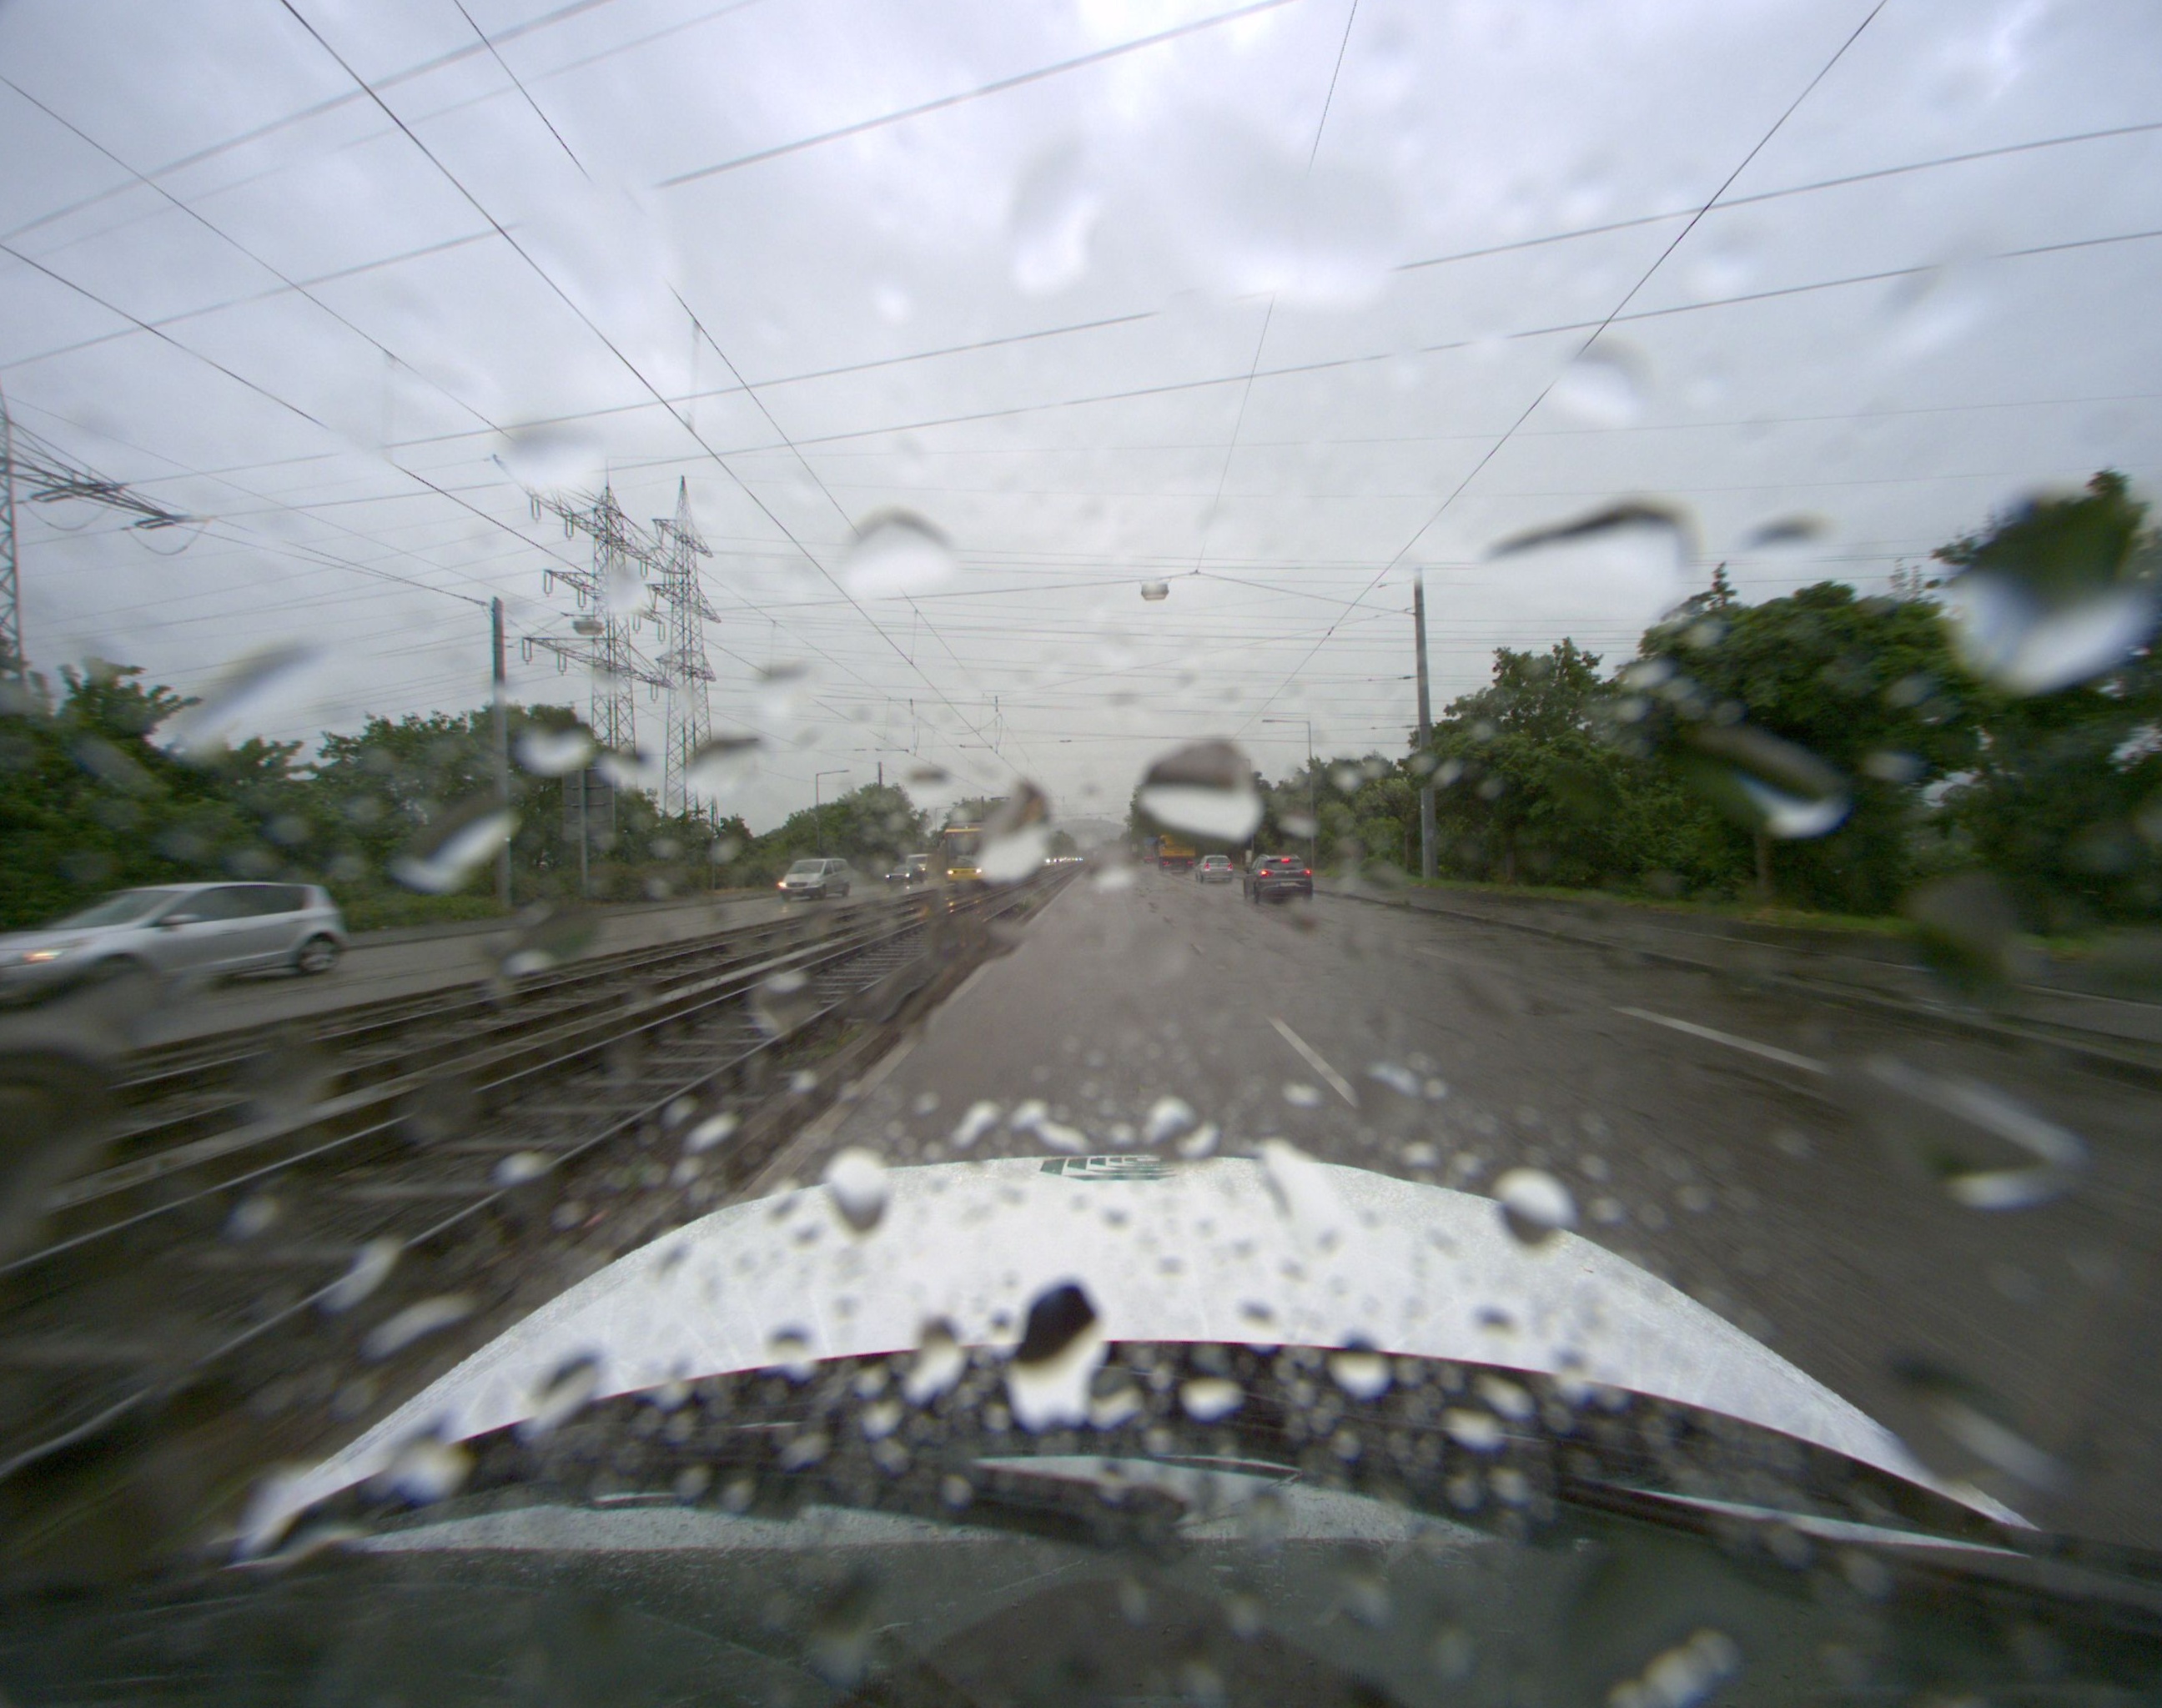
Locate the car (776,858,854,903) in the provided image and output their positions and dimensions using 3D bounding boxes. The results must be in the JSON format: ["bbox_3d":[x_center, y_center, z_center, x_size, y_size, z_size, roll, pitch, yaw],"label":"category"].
[{"bbox_3d":[-12.297,1.186,38.008,1.880,1.884,4.625,-1,1,3],"label":"car"}]

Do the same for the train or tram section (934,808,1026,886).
[{"bbox_3d":[-5.408,-0.474,47.781,2.854,3.705,17.894,-1,1,1],"label":"train or tram section"}]

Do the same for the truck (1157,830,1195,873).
[{"bbox_3d":[7.586,-0.261,65.877,2.545,3.257,6.938,-1,1,3],"label":"truck"}]

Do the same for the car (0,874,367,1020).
[{"bbox_3d":[-13.752,1.223,12.339,1.880,1.642,4.350,-1,1,3],"label":"car"}]

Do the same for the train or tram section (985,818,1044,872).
[{"bbox_3d":[-5.059,-0.750,66.505,2.876,3.705,19.534,-1,1,1],"label":"train or tram section"}]

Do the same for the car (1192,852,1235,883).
[{"bbox_3d":[7.071,0.664,43.902,1.621,1.503,4.607,-1,1,1],"label":"car"}]

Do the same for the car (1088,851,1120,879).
[{"bbox_3d":[1.549,0.670,52.634,1.981,1.684,3.742,-1,1,3],"label":"car"}]

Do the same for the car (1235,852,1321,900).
[{"bbox_3d":[6.196,0.644,26.099,1.880,1.357,4.280,-1,1,2],"label":"car"}]

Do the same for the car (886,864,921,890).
[{"bbox_3d":[-12.836,1.621,59.052,1.661,1.723,3.733,-1,1,1],"label":"car"}]

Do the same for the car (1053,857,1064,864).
[{"bbox_3d":[-5.278,1.623,193.762,1.984,1.464,5.257,-4,1,4],"label":"car"}]

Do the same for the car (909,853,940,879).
[{"bbox_3d":[-13.937,1.053,72.730,1.869,2.240,3.945,-1,1,1],"label":"car"}]
